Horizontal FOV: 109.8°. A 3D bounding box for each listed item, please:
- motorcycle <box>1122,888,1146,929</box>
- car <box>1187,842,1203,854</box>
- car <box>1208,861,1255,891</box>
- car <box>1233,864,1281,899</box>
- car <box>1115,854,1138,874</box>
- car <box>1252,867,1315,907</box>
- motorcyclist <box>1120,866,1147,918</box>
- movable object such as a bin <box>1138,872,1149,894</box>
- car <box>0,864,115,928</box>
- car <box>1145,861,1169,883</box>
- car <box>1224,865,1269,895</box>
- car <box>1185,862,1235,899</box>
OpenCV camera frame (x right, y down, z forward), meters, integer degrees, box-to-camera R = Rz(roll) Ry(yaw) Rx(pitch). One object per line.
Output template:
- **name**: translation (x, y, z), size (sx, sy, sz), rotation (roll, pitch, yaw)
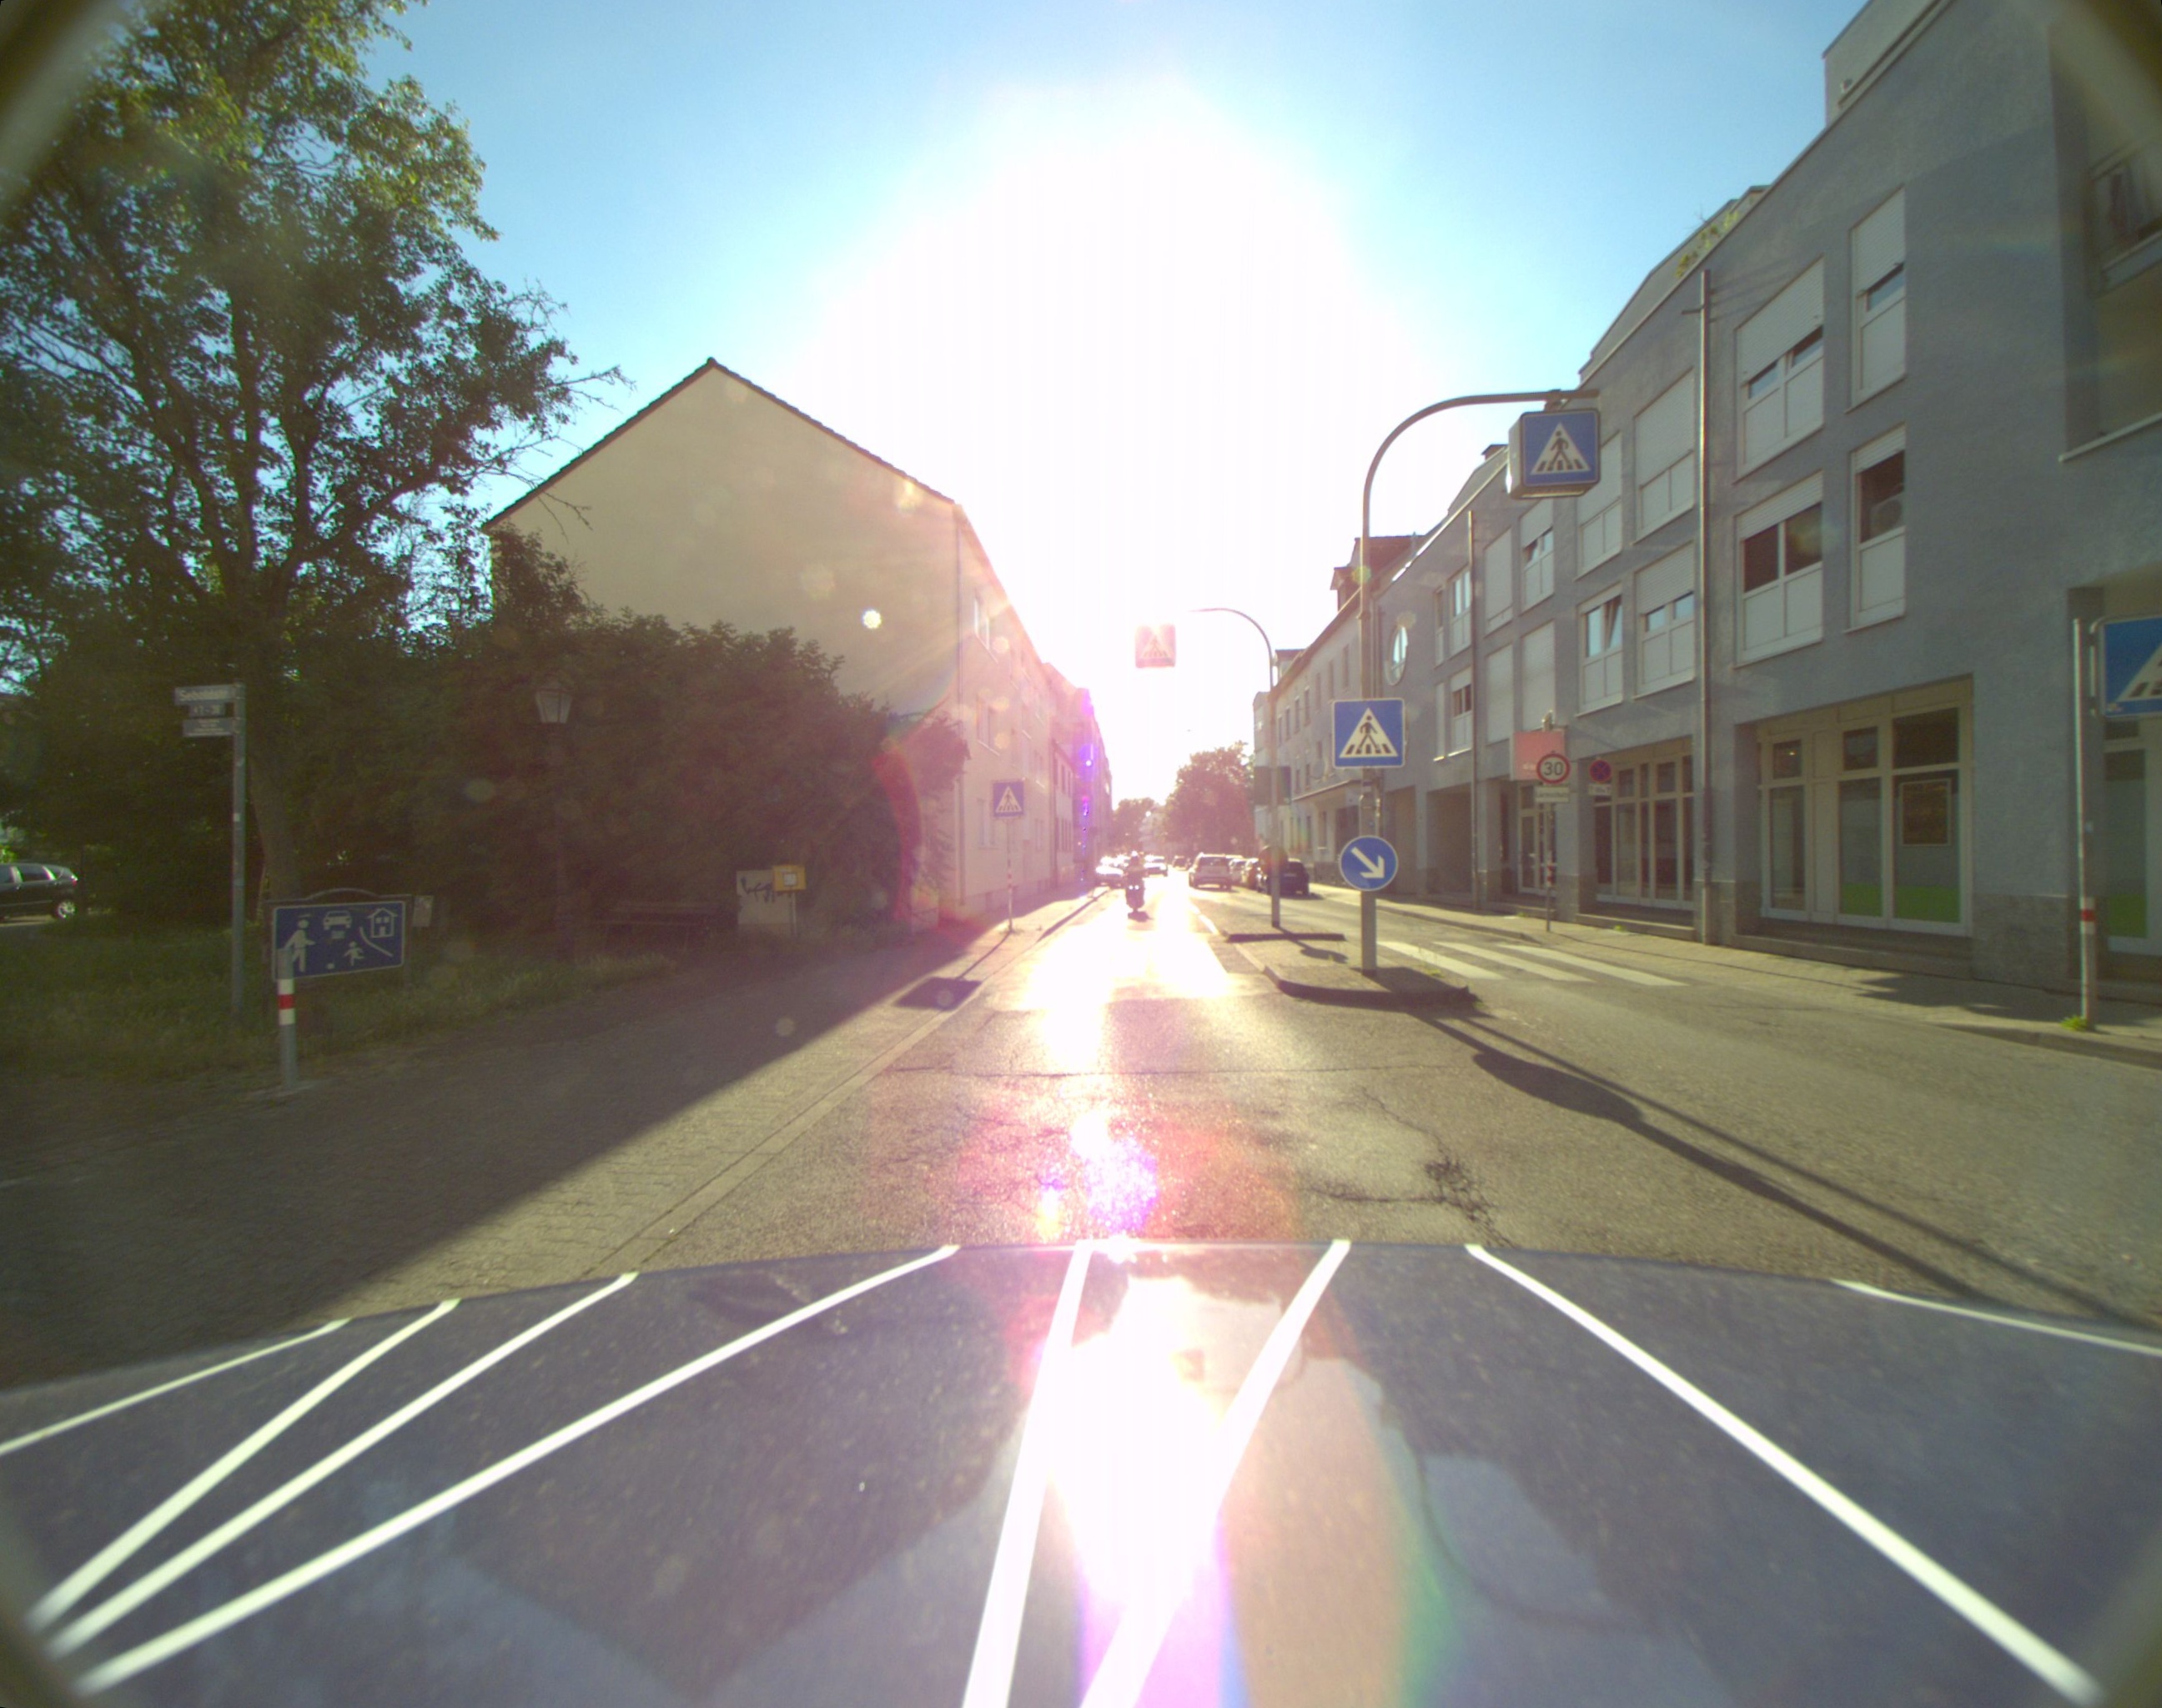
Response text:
- **motorcycle**: translation (1.503, 1.543, 21.824), size (0.598, 1.004, 1.821), rotation (-2, 1, 2)
- **car**: translation (15.515, -0.818, 103.721), size (1.701, 1.483, 4.000), rotation (-2, 1, 2)
- **car**: translation (9.474, 1.329, 48.261), size (1.998, 1.638, 5.222), rotation (-2, 0, 2)
- **car**: translation (8.644, 1.307, 37.557), size (1.664, 1.517, 3.810), rotation (-2, 0, 4)
- **car**: translation (4.021, 0.866, 65.988), size (1.858, 1.627, 4.624), rotation (1, 0, 5)
- **car**: translation (8.393, 1.326, 31.752), size (1.735, 1.490, 3.960), rotation (-1, 0, 3)
- **motorcyclist**: translation (1.493, 1.080, 21.761), size (0.717, 1.424, 0.746), rotation (-2, 1, 2)
- **movable object such as a bin**: translation (3.378, 1.554, 41.160), size (0.455, 1.027, 1.840), rotation (-5, 2, 2)
- **car**: translation (-28.875, 1.197, 20.058), size (1.724, 1.581, 3.749), rotation (-5, 2, 2)
- **car**: translation (6.222, 1.472, 62.271), size (1.708, 1.570, 3.916), rotation (-3, 1, 3)
- **car**: translation (9.217, 1.431, 42.621), size (1.768, 1.487, 4.127), rotation (0, 1, 3)
- **car**: translation (6.315, 1.263, 37.633), size (1.811, 1.692, 4.191), rotation (0, 1, 1)
